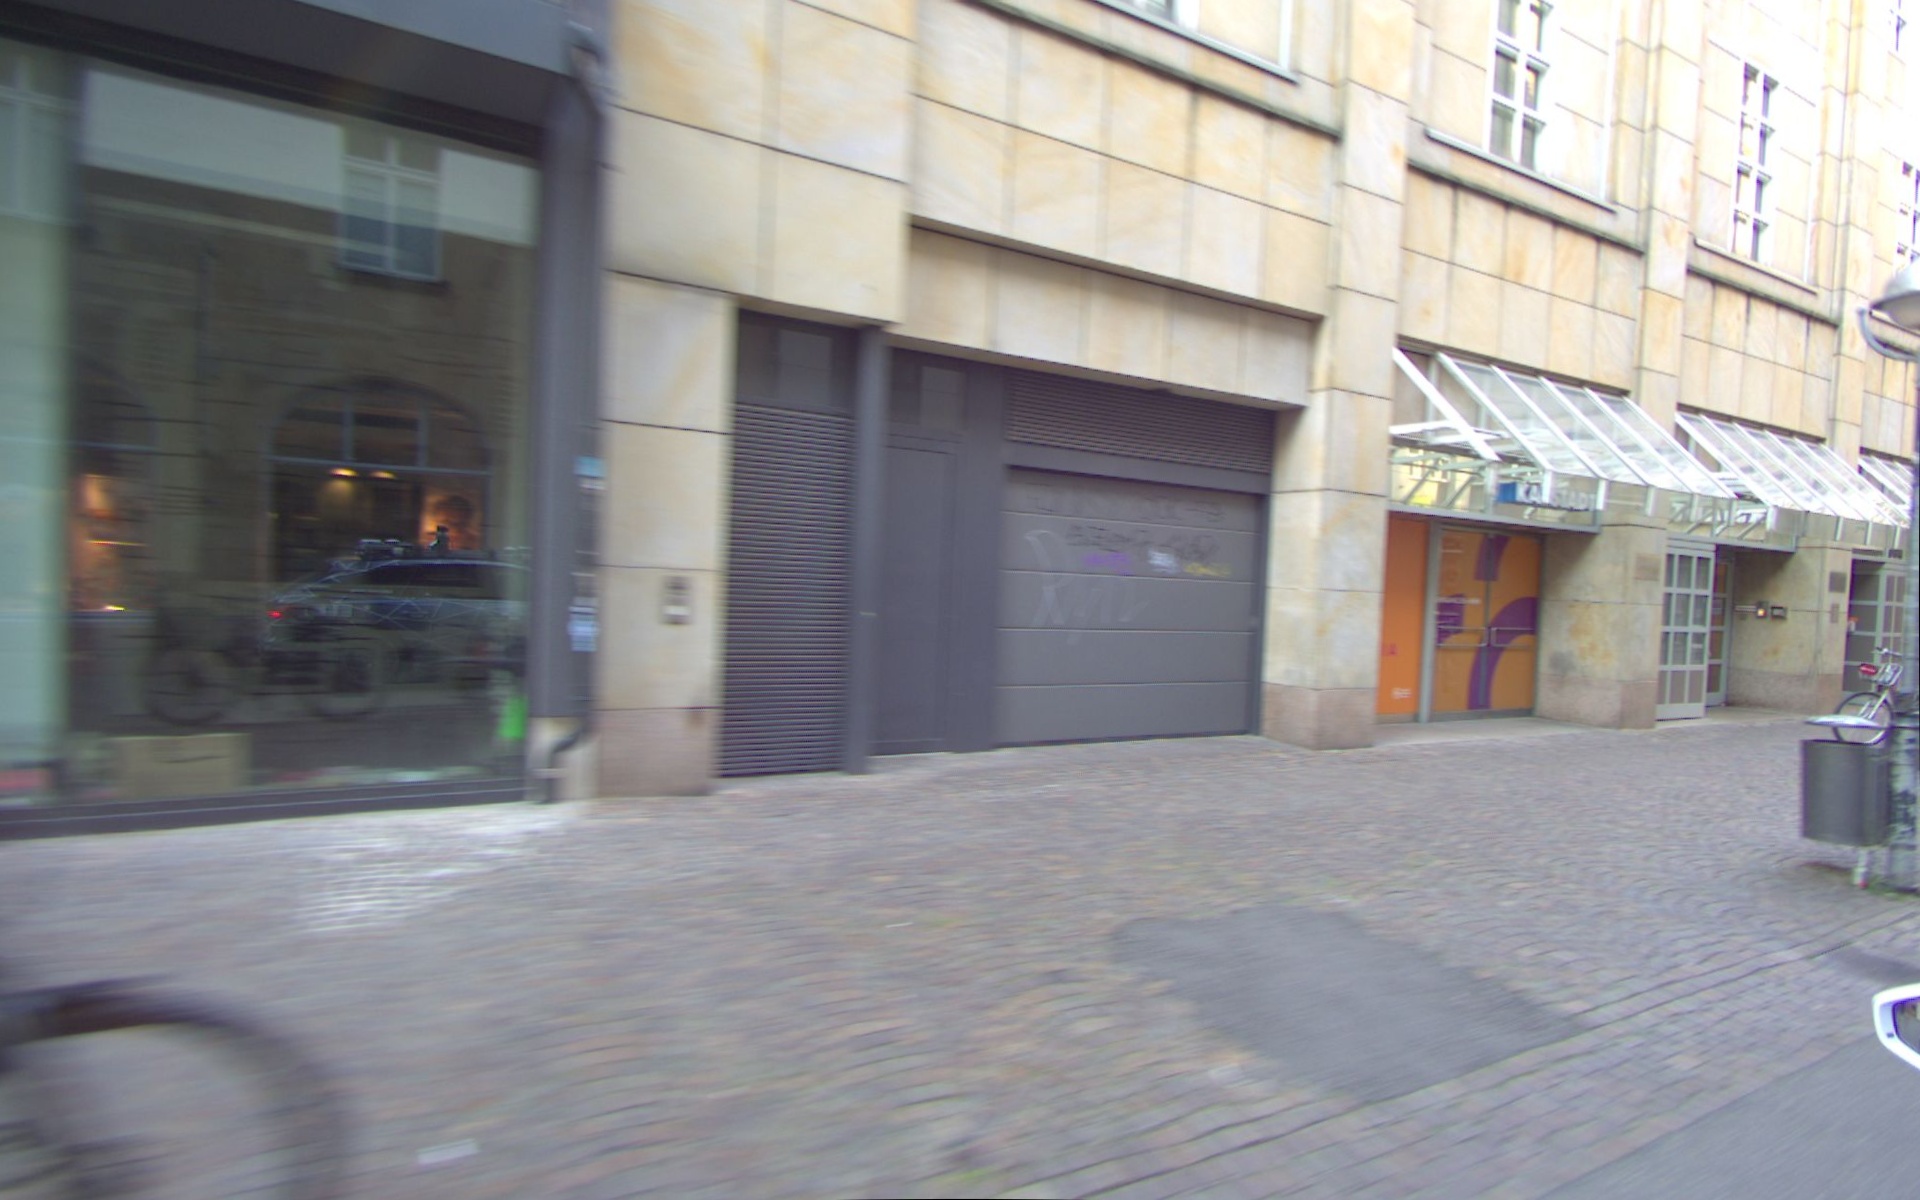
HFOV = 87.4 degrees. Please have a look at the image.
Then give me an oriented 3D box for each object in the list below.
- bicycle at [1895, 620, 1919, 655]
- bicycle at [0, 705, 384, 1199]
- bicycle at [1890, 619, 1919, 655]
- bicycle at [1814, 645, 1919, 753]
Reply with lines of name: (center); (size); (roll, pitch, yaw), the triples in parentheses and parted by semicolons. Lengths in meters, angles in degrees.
bicycle: (34.074, 1.351, 35.176); (1.892, 1.198, 0.692); (3, 2, 44)
bicycle: (-1.912, 0.779, 1.381); (1.911, 1.148, 0.408); (1, 2, -34)
bicycle: (33.348, 1.304, 34.600); (1.892, 1.198, 0.692); (3, 2, 44)
bicycle: (10.775, 1.110, 11.449); (1.747, 1.127, 0.693); (2, 1, -15)
